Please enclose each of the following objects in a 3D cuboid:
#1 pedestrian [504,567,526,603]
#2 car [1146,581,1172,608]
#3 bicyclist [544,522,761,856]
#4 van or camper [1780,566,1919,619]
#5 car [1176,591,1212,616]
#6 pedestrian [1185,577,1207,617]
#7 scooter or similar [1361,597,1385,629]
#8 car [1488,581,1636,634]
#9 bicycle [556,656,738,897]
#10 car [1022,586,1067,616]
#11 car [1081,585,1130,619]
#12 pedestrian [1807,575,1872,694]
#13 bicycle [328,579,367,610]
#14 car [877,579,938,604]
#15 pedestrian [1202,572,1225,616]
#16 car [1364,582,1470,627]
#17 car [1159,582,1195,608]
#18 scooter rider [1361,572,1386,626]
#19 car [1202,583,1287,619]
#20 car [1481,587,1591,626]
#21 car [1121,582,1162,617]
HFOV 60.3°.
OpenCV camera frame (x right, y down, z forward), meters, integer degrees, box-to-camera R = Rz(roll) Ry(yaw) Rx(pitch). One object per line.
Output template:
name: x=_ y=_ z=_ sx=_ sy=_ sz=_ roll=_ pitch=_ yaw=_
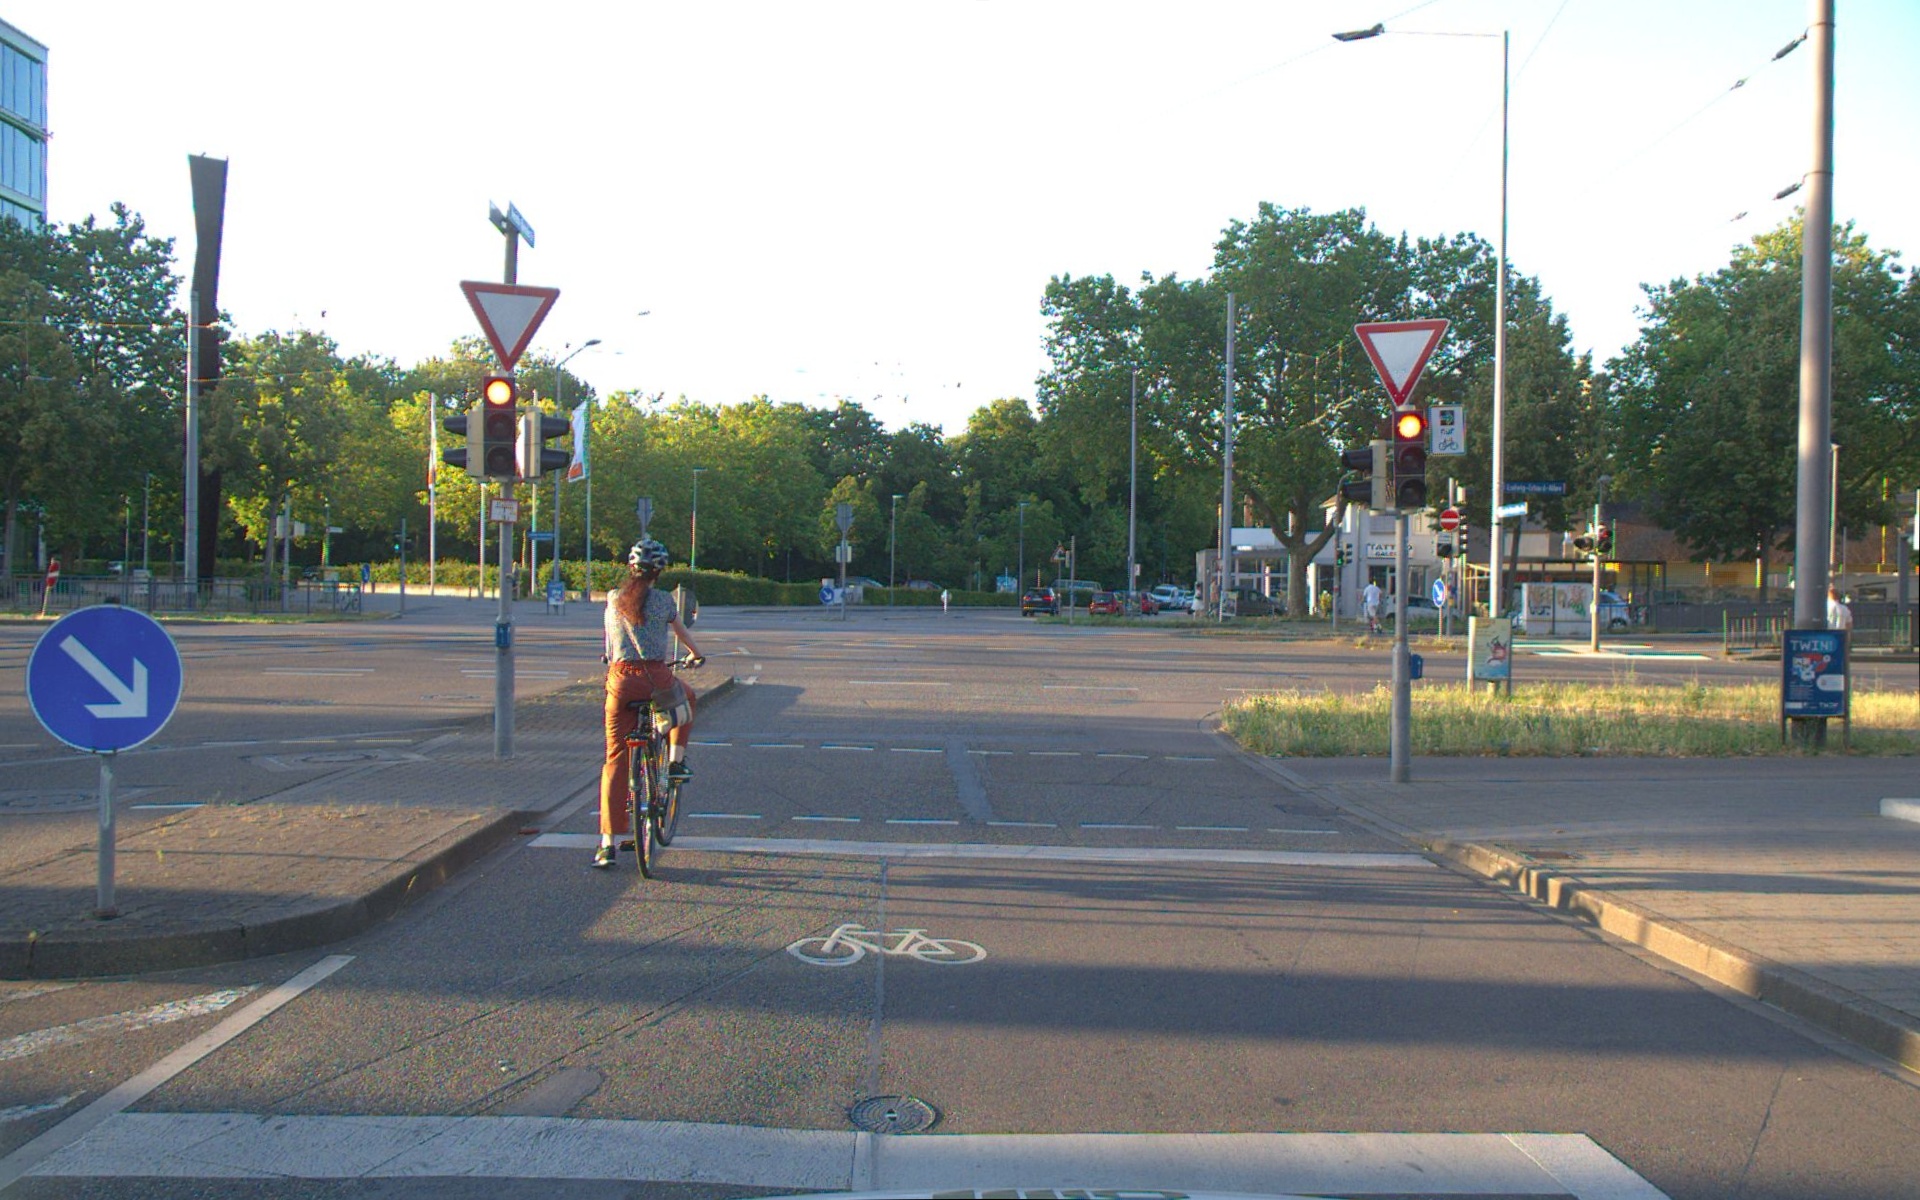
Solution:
pedestrian: x=-22.202 y=-0.768 z=82.523 sx=0.884 sy=1.785 sz=0.715 roll=1 pitch=0 yaw=-26
car: x=15.813 y=-0.458 z=131.416 sx=1.951 sy=2.049 sz=4.003 roll=1 pitch=1 yaw=6
bicyclist: x=-1.683 y=0.467 z=9.227 sx=1.011 sy=1.748 sz=0.996 roll=1 pitch=0 yaw=-1
van or camper: x=43.645 y=-0.348 z=80.382 sx=6.426 sy=2.452 sz=2.265 roll=1 pitch=0 yaw=3
car: x=16.416 y=0.234 z=115.738 sx=1.875 sy=1.630 sz=4.002 roll=1 pitch=1 yaw=17
pedestrian: x=9.774 y=-0.126 z=68.466 sx=0.704 sy=1.667 sz=0.897 roll=1 pitch=0 yaw=23
scooter or similar: x=14.545 y=0.460 z=58.311 sx=0.499 sy=1.109 sz=1.243 roll=1 pitch=0 yaw=-1
car: x=20.807 y=0.254 z=57.232 sx=4.445 sy=1.758 sz=1.860 roll=1 pitch=0 yaw=-5
bicycle: x=-1.685 y=0.906 z=9.214 sx=0.621 sy=1.086 sz=2.122 roll=1 pitch=1 yaw=-1
car: x=4.694 y=0.064 z=91.375 sx=1.718 sy=1.568 sz=4.404 roll=1 pitch=-1 yaw=12
car: x=8.446 y=0.090 z=95.823 sx=1.829 sy=1.907 sz=3.875 roll=1 pitch=1 yaw=20
pedestrian: x=13.878 y=0.529 z=26.117 sx=0.745 sy=1.822 sz=0.802 roll=1 pitch=0 yaw=19
bicycle: x=-23.119 y=-0.220 z=62.445 sx=0.685 sy=1.156 sz=2.391 roll=1 pitch=1 yaw=-3
car: x=-3.434 y=-0.543 z=109.466 sx=3.905 sy=1.588 sz=2.000 roll=1 pitch=0 yaw=1
pedestrian: x=10.433 y=-0.257 z=68.114 sx=0.704 sy=1.785 sz=0.897 roll=1 pitch=0 yaw=23
car: x=20.087 y=0.170 z=72.774 sx=4.142 sy=1.878 sz=2.001 roll=1 pitch=0 yaw=2
car: x=17.862 y=-0.404 z=135.984 sx=1.953 sy=2.049 sz=3.998 roll=1 pitch=1 yaw=24
scooter rider: x=14.556 y=-0.033 z=58.264 sx=0.688 sy=1.887 sz=0.669 roll=1 pitch=-1 yaw=-1
car: x=15.315 y=0.028 z=89.192 sx=4.285 sy=1.867 sz=1.950 roll=1 pitch=1 yaw=4
car: x=25.313 y=0.276 z=72.752 sx=4.142 sy=1.605 sz=2.001 roll=1 pitch=0 yaw=2
car: x=11.372 y=-0.044 z=103.482 sx=1.875 sy=2.083 sz=4.002 roll=1 pitch=1 yaw=17
